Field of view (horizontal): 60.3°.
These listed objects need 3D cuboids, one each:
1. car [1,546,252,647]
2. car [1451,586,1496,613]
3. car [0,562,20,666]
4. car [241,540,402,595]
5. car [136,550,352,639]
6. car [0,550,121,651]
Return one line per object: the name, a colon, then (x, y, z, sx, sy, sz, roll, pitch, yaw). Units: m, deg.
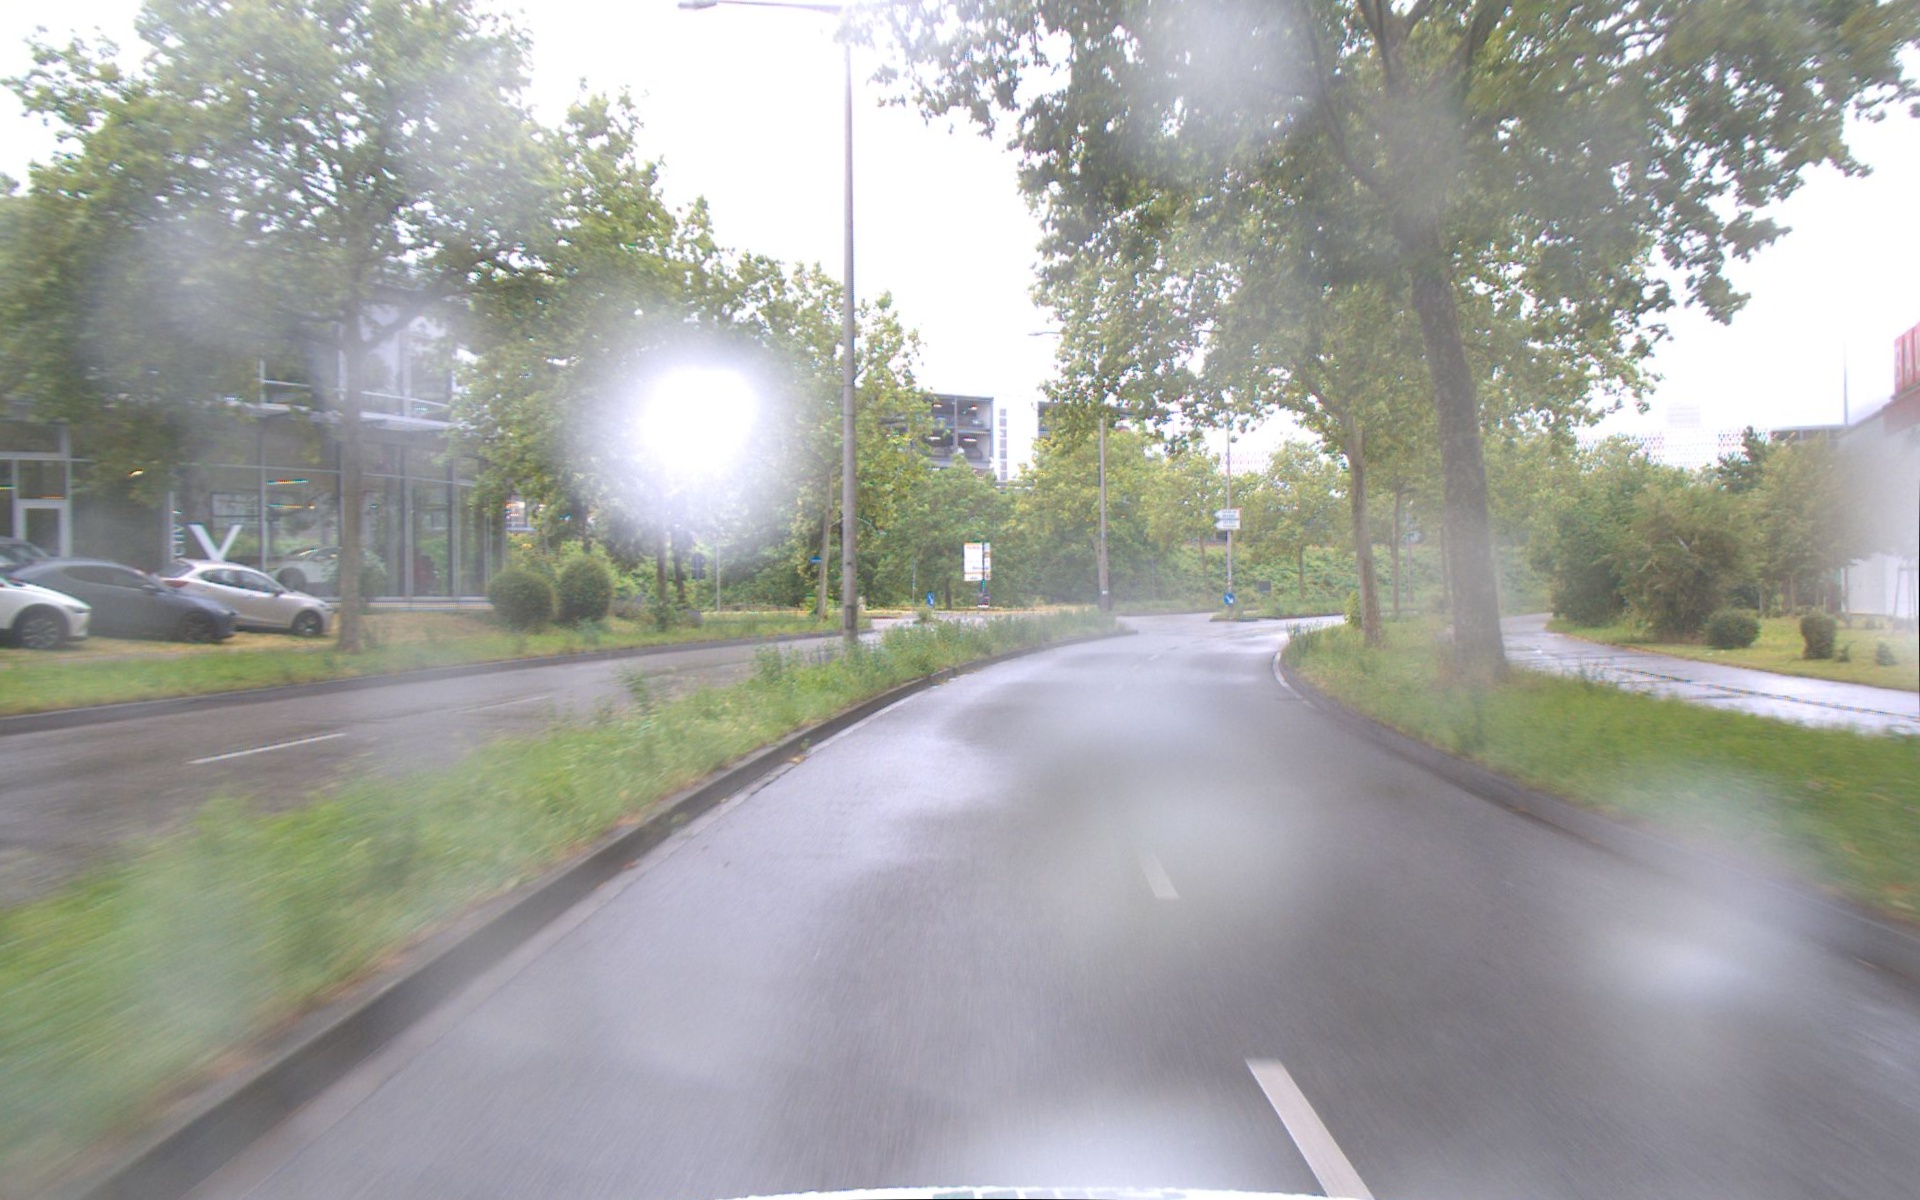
car: (-16.483, -0.054, 32.786, 4.086, 1.446, 1.825, 7, 1, -37)
car: (33.041, -0.048, 106.409, 1.748, 1.582, 3.988, 2, 2, 33)
car: (-17.158, 0.010, 25.873, 4.079, 1.503, 1.828, 7, 1, -33)
car: (-18.491, -0.908, 48.034, 1.749, 1.502, 4.098, 0, 0, 35)
car: (-15.989, -0.097, 37.069, 1.756, 1.500, 3.972, 9, 1, 44)
car: (-17.136, -0.106, 28.822, 4.092, 1.503, 1.822, 7, 1, -41)
